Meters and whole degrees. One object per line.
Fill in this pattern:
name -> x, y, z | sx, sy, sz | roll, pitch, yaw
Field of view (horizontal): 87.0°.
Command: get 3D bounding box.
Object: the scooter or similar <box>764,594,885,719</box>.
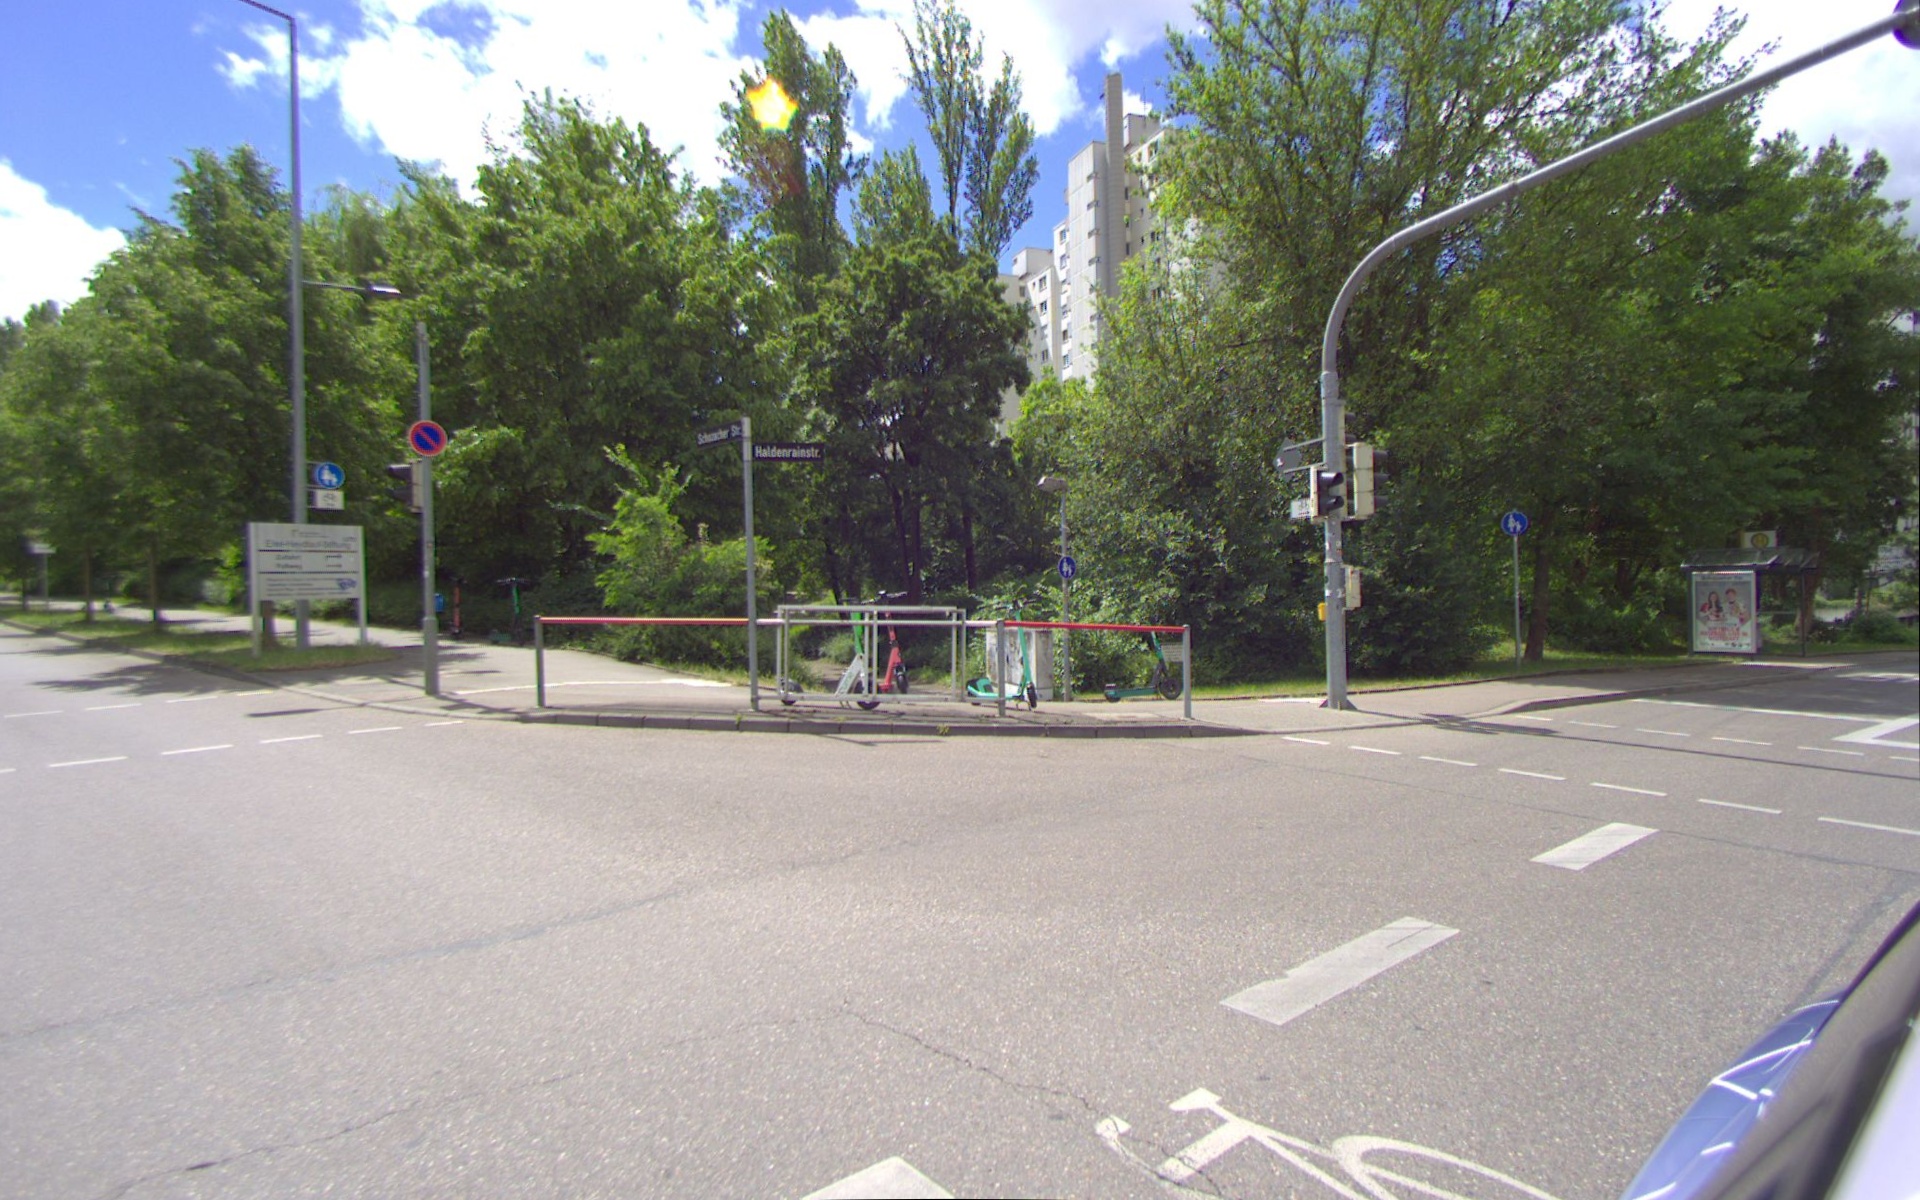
scooter or similar -> -1.428, 0.564, 10.678 | 1.197, 1.250, 0.475 | 0, 0, 24

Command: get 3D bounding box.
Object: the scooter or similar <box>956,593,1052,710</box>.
scooter or similar -> 0.471, 0.537, 11.183 | 0.440, 1.210, 1.172 | 0, 0, -34

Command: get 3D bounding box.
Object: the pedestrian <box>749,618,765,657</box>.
pedestrian -> -9.069, 1.656, 45.182 | 0.647, 1.723, 0.839 | 0, 0, -17

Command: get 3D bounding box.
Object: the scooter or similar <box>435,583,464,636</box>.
scooter or similar -> -10.837, 0.195, 21.465 | 0.403, 1.087, 1.115 | 0, 0, -34

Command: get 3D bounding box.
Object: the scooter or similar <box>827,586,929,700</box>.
scooter or similar -> -0.960, 0.465, 11.682 | 1.180, 1.250, 0.473 | 1, 0, 40

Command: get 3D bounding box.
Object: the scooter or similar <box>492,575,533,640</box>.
scooter or similar -> -8.604, 0.135, 19.449 | 0.513, 1.197, 1.176 | 0, 0, -34

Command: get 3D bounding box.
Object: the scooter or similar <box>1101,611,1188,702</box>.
scooter or similar -> 2.768, 0.861, 15.202 | 1.194, 1.310, 0.531 | -3, -5, 18
